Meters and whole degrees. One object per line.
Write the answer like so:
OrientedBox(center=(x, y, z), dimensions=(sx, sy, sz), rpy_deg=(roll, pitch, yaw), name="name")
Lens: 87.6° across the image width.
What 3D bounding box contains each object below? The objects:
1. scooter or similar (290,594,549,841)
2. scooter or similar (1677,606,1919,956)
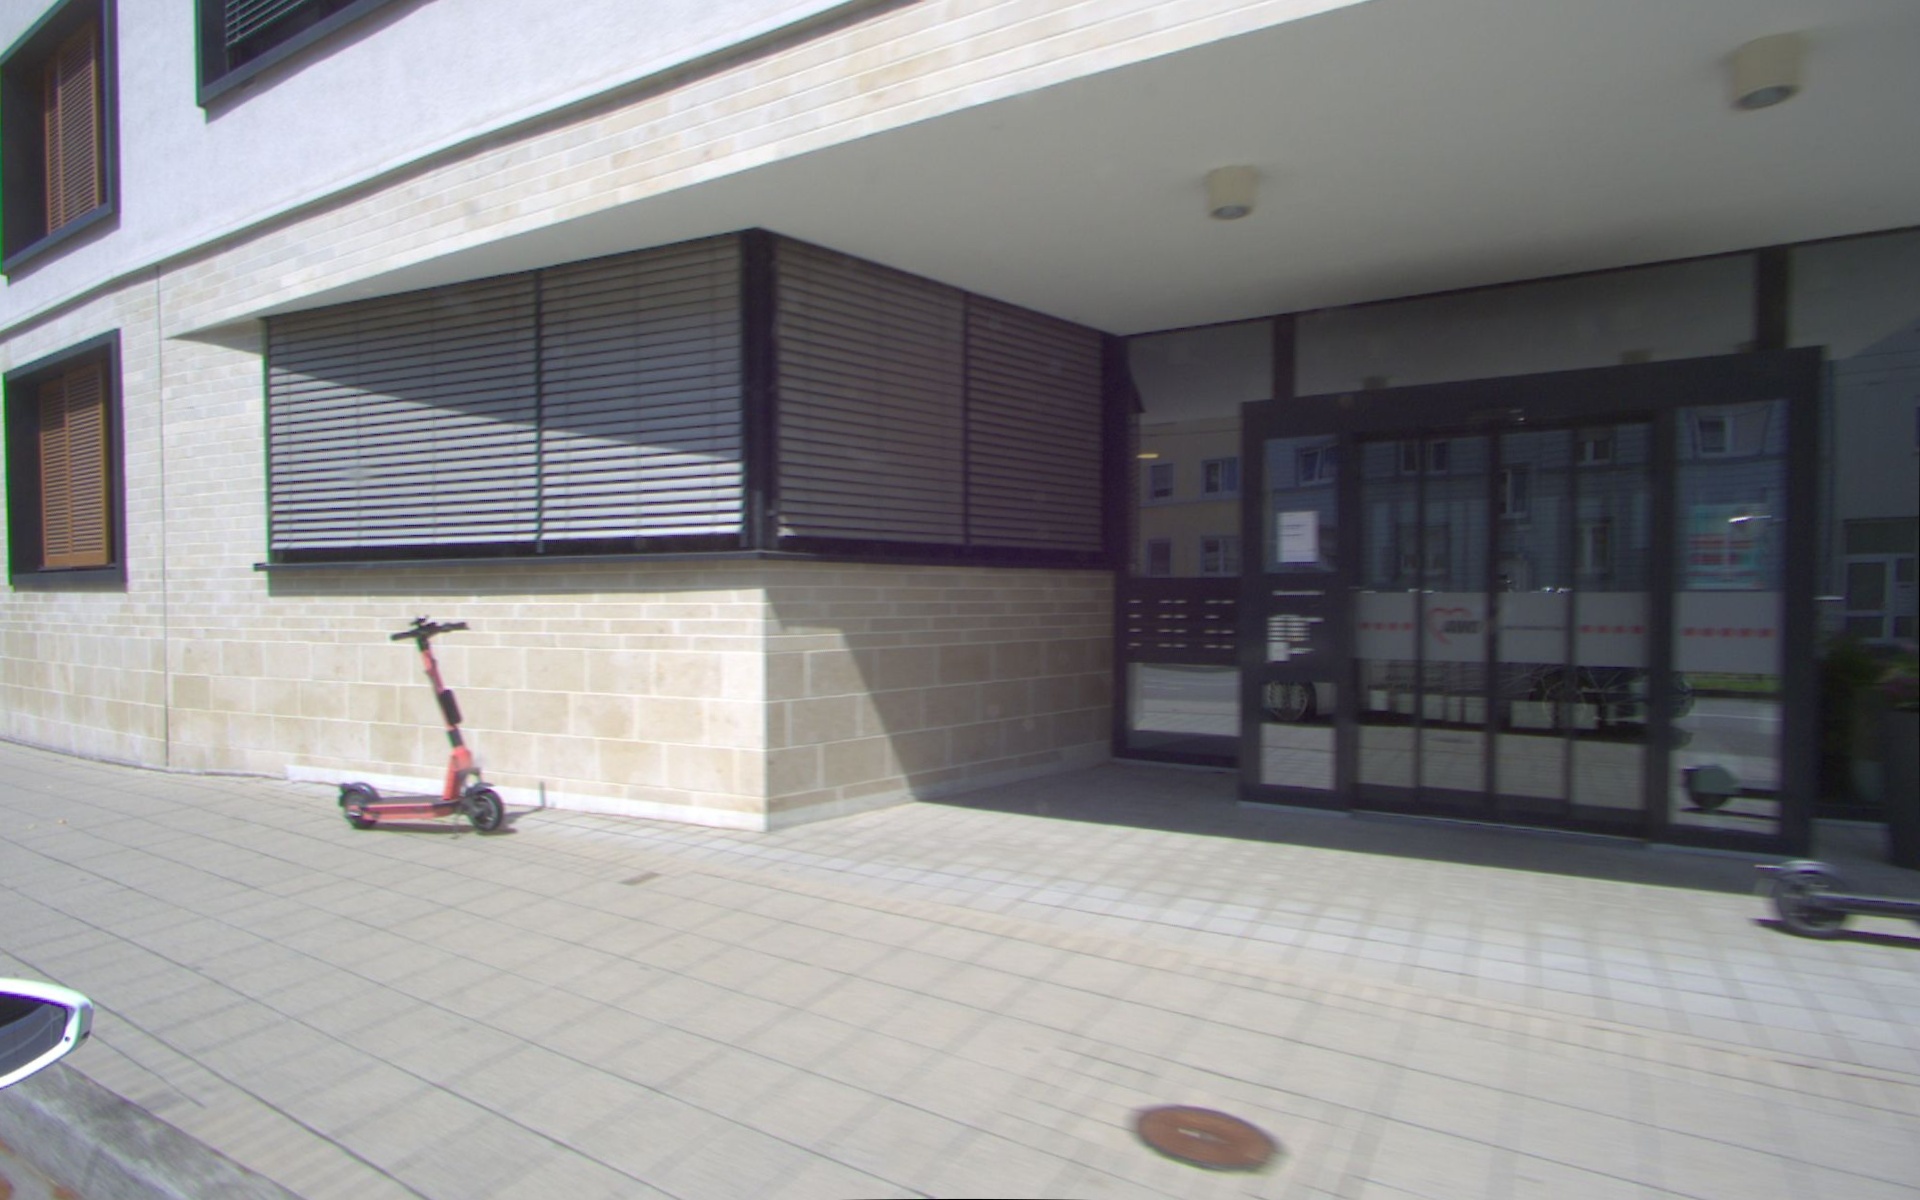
OrientedBox(center=(-3.110, 0.616, 5.764), dimensions=(1.345, 1.278, 0.581), rpy_deg=(0, 3, 24), name="scooter or similar")
OrientedBox(center=(3.500, 0.642, 3.702), dimensions=(1.292, 1.227, 0.422), rpy_deg=(0, 1, 22), name="scooter or similar")
